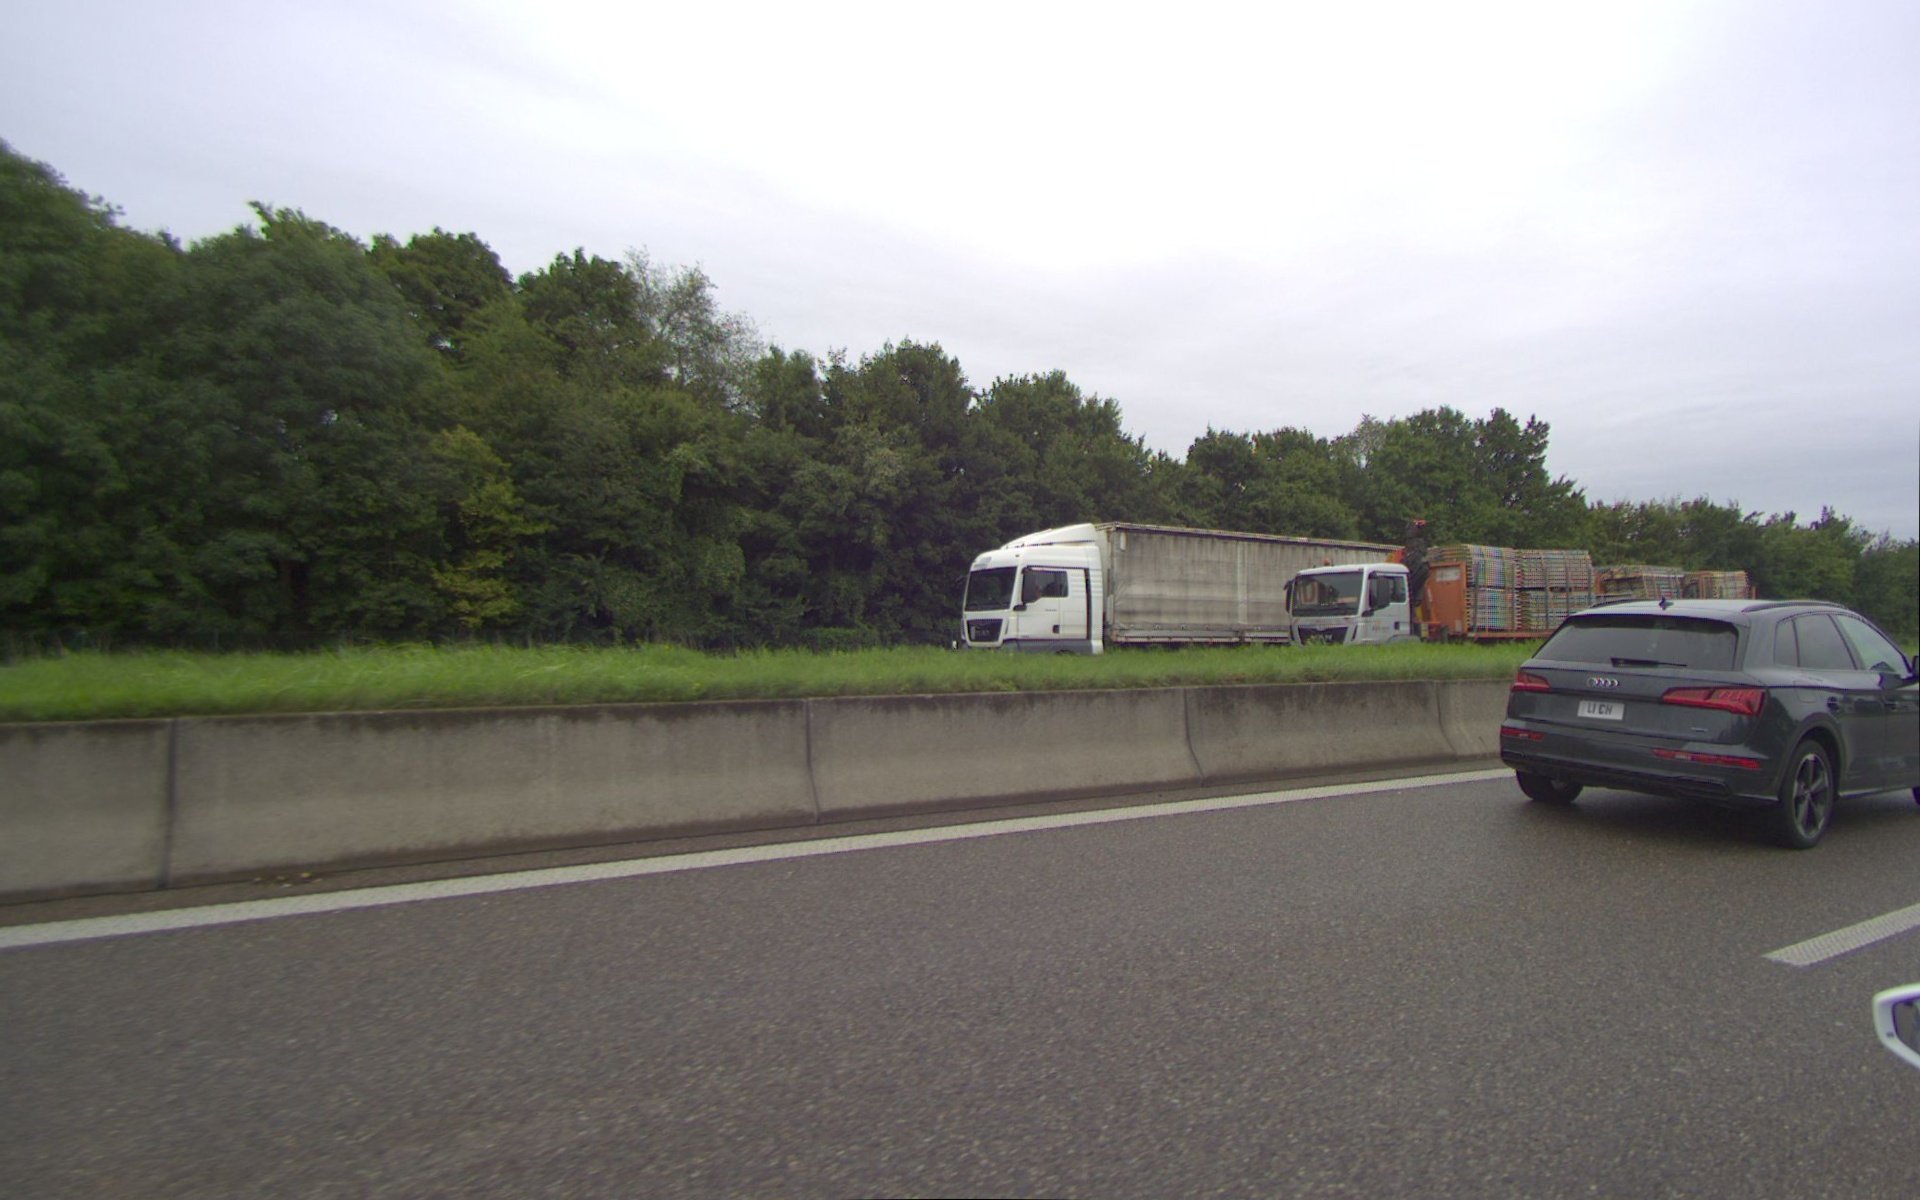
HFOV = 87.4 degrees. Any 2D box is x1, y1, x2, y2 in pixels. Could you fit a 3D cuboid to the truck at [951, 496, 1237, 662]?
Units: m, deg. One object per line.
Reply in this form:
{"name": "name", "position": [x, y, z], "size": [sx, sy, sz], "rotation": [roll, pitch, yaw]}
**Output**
{"name": "truck", "position": [3.370, -0.370, 24.639], "size": [6.682, 3.598, 2.653], "rotation": [2, 0, -31]}

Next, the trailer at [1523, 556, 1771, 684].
{"name": "trailer", "position": [21.111, 0.646, 30.722], "size": [8.221, 3.505, 2.918], "rotation": [2, 0, -30]}

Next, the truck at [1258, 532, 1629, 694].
{"name": "truck", "position": [12.726, 0.424, 25.831], "size": [11.056, 3.512, 2.936], "rotation": [2, 0, -31]}

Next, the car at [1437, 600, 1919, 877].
{"name": "car", "position": [6.339, 0.893, 8.122], "size": [5.064, 1.621, 1.984], "rotation": [2, 0, -31]}

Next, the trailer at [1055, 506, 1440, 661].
{"name": "trailer", "position": [8.192, -0.233, 27.443], "size": [11.729, 3.587, 2.673], "rotation": [2, 0, -30]}
